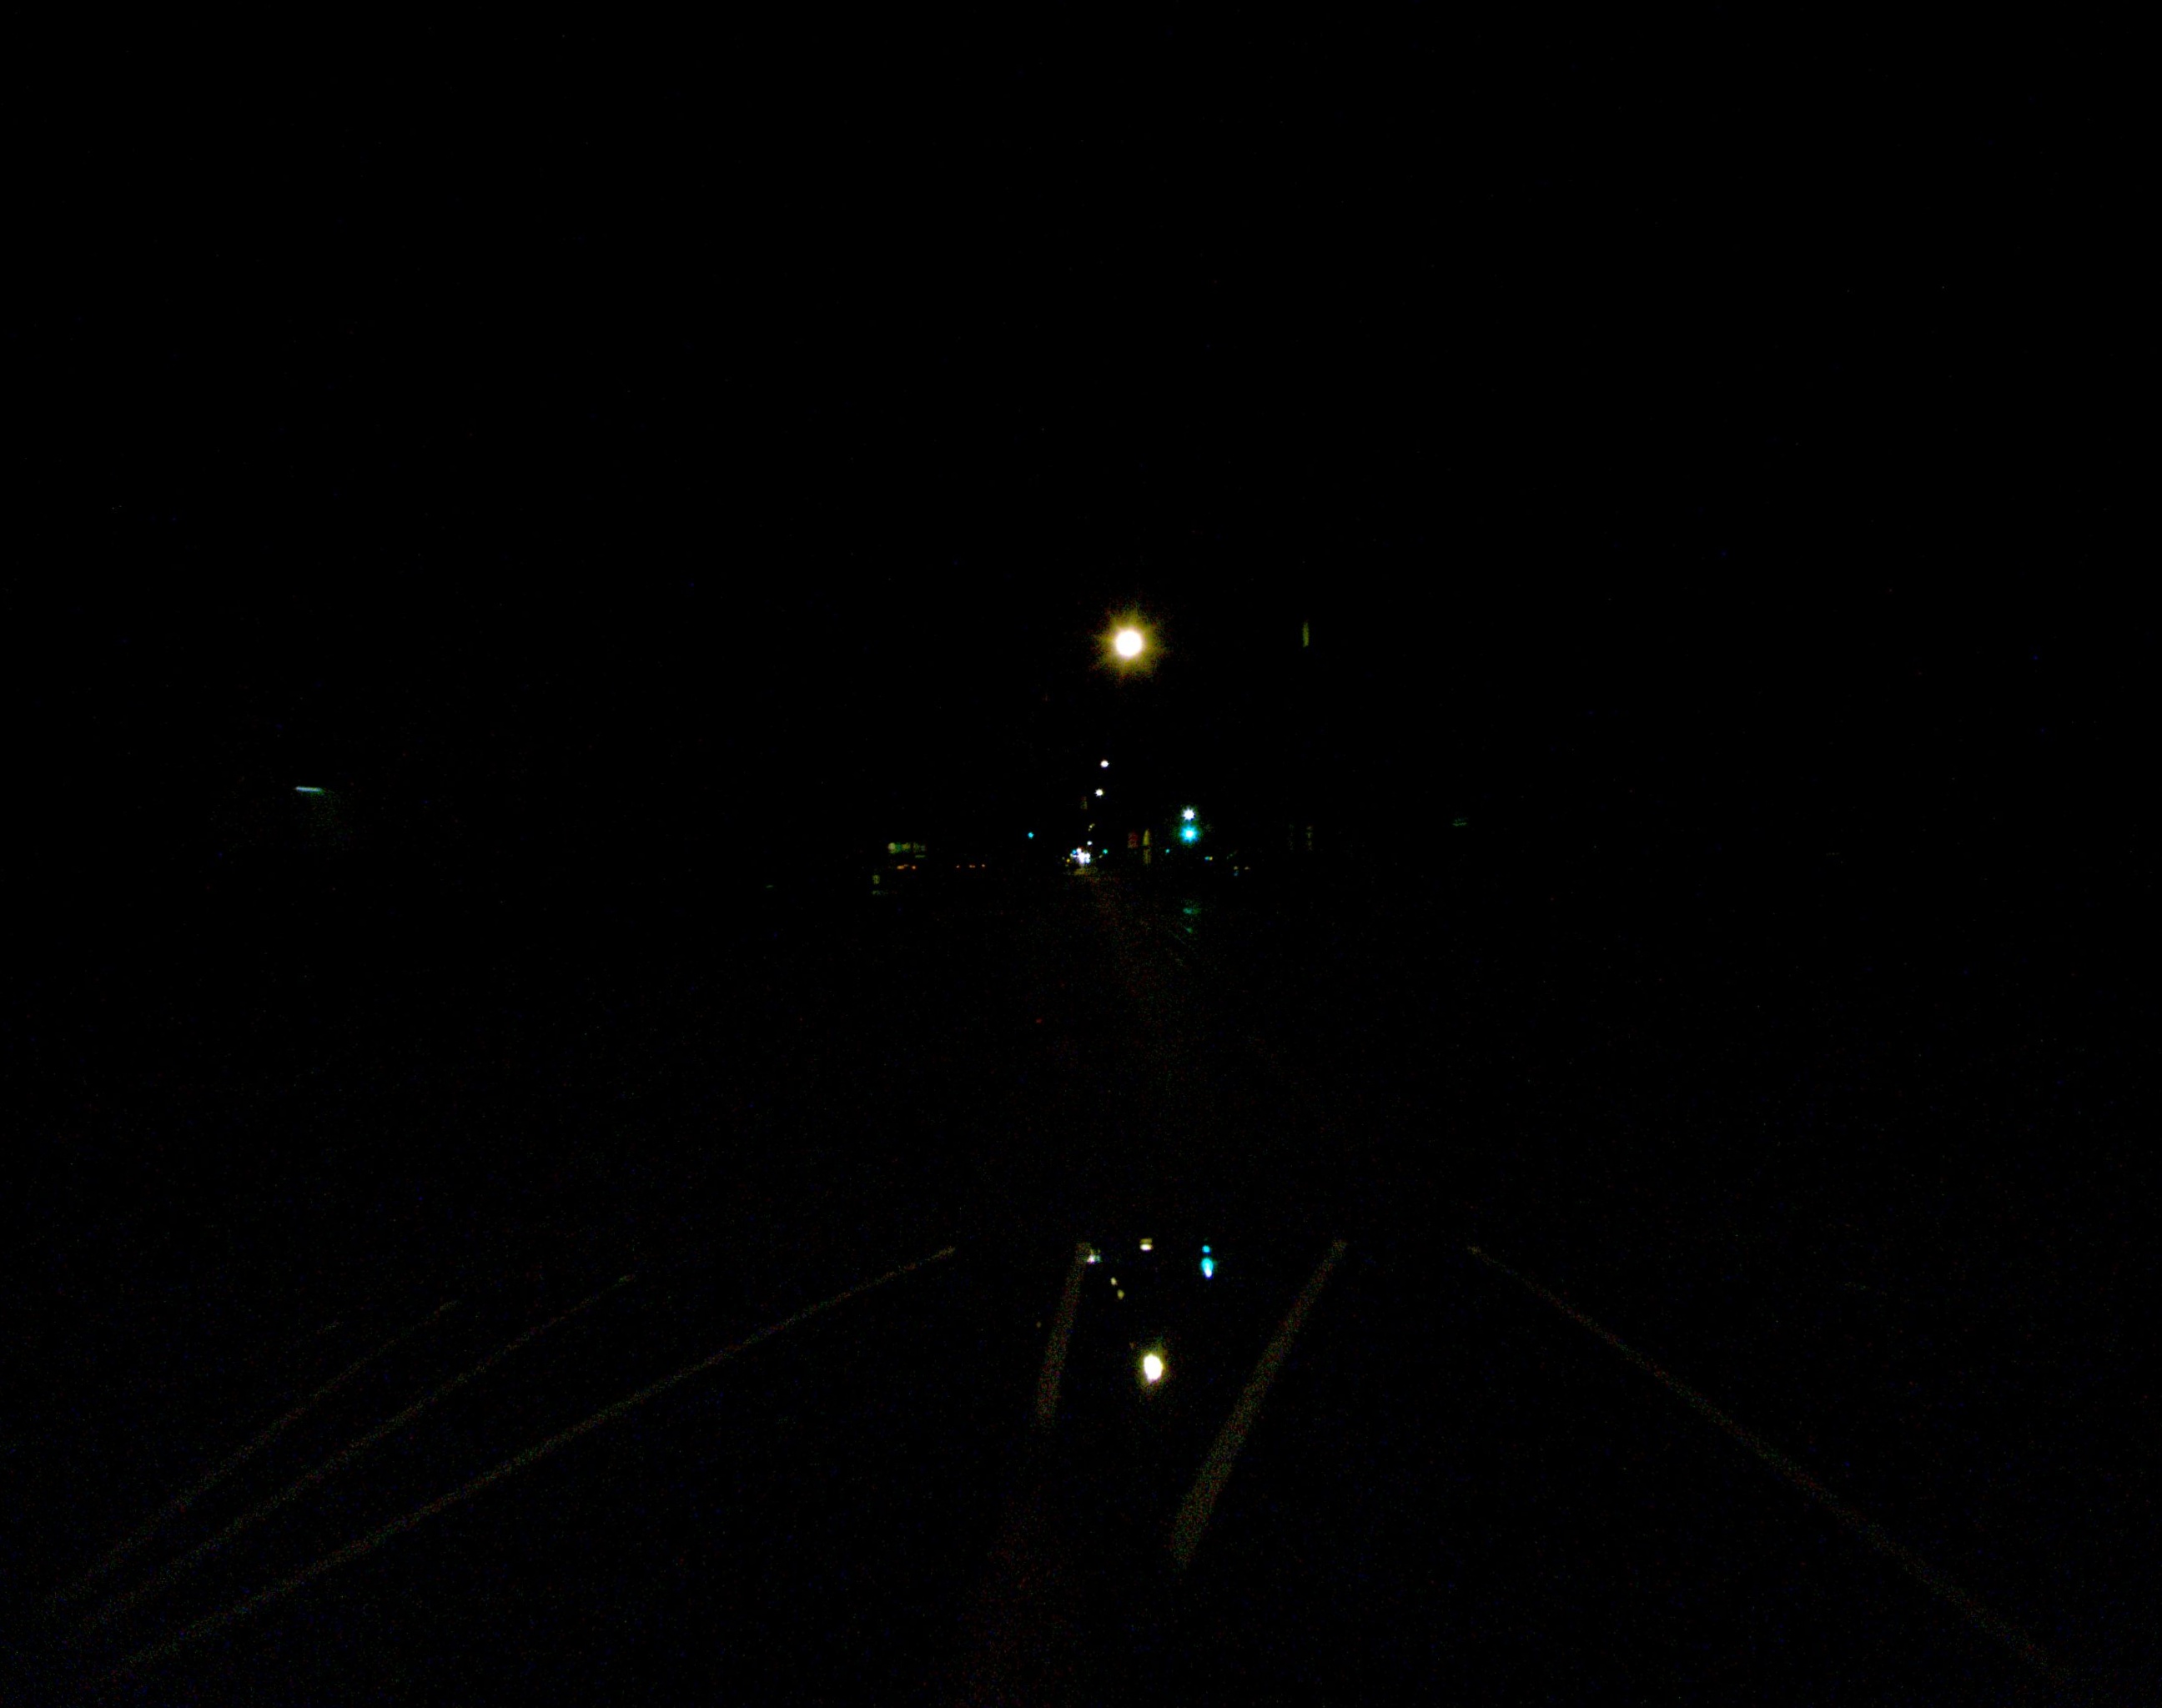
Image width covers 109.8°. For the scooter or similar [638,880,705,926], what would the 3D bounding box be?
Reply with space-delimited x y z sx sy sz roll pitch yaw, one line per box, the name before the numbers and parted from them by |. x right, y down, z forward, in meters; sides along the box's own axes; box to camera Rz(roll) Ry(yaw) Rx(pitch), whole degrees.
scooter or similar | -11.458 1.339 21.334 0.499 1.139 1.669 1 2 25

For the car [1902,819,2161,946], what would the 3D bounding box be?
car | 14.027 0.302 10.056 3.994 1.417 1.763 -4 0 10

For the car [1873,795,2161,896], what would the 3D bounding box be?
car | 17.998 -0.190 14.620 1.759 1.597 3.982 -4 1 10

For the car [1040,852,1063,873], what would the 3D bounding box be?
car | -2.613 0.748 68.167 1.916 1.816 4.899 -1 0 -2

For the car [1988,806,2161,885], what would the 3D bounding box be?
car | 20.216 -0.195 14.251 1.675 1.409 4.330 -2 1 9

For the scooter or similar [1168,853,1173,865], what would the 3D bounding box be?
scooter or similar | 9.098 0.483 77.438 0.332 1.218 1.335 -2 1 2

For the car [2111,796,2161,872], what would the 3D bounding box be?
car | 22.727 -0.422 14.170 1.848 1.534 4.154 -2 1 11

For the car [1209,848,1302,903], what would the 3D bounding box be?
car | 5.828 0.695 25.995 1.853 1.640 4.670 -2 0 -3

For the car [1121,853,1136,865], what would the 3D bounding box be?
car | 6.450 0.678 103.072 1.731 1.477 4.291 -2 0 -1

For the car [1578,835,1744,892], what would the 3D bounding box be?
car | 15.077 0.218 20.000 1.560 1.309 3.562 -2 1 -1

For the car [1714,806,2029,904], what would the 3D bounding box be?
car | 15.136 0.007 14.963 1.761 1.529 4.186 -4 1 0

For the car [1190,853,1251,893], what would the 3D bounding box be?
car | 5.743 0.742 31.704 1.652 1.506 3.700 -2 1 -3
